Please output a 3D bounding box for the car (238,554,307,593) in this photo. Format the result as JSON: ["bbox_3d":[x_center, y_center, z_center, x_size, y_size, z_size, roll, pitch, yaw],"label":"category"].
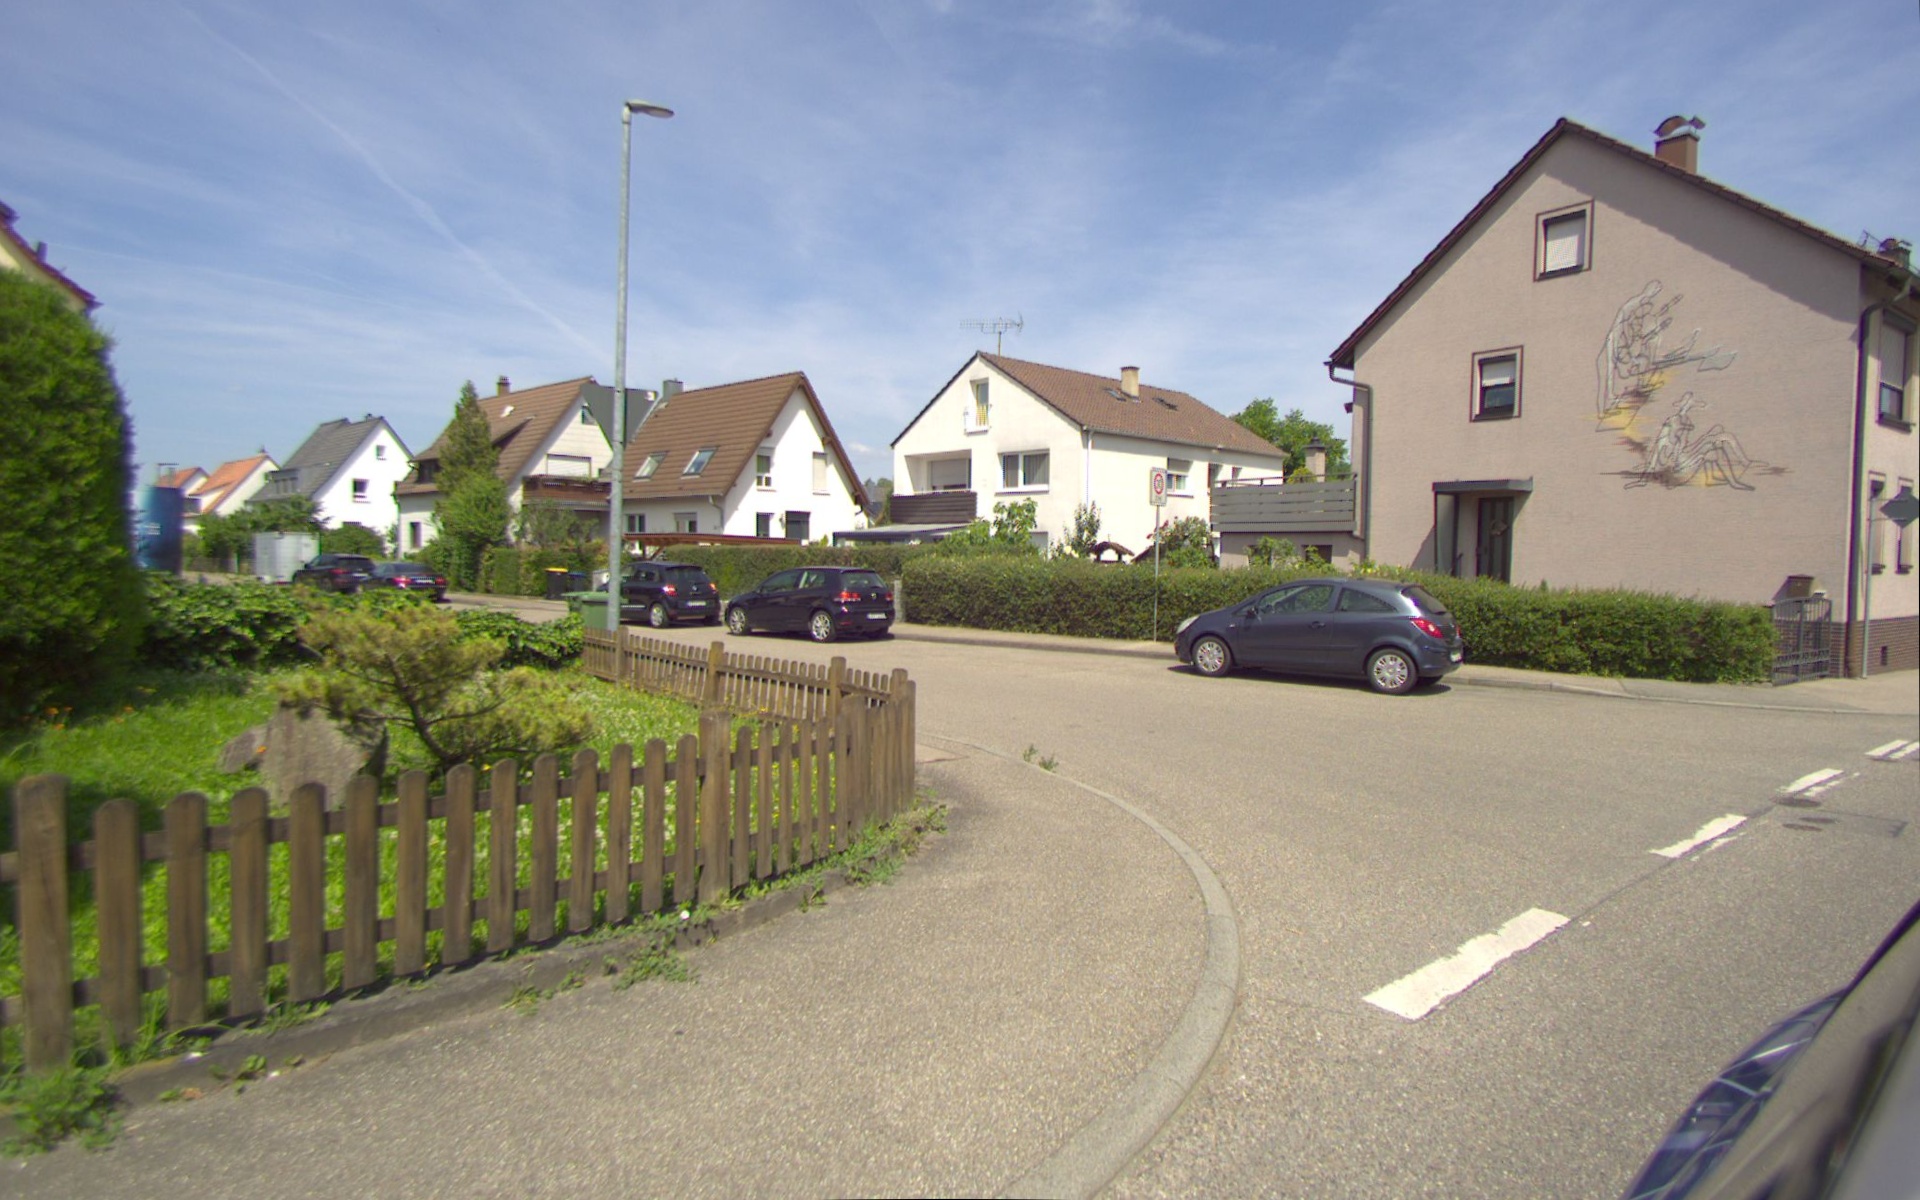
[{"bbox_3d":[-30.312,-1.183,44.606,3.430,1.622,1.625,2,2,40],"label":"car"}]

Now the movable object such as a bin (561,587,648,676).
[{"bbox_3d":[-4.711,0.395,13.455,0.495,1.109,1.000,2,2,34],"label":"movable object such as a bin"}]

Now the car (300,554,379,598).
[{"bbox_3d":[-24.058,-0.946,39.193,3.430,1.622,1.625,2,2,40],"label":"car"}]

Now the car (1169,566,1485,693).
[{"bbox_3d":[5.103,0.291,14.292,3.799,1.506,1.863,2,3,40],"label":"car"}]

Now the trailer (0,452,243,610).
[{"bbox_3d":[-17.252,-1.309,19.971,1.989,2.848,4.703,2,2,37],"label":"trailer"}]

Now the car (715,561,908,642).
[{"bbox_3d":[-3.122,-0.030,20.903,3.890,1.506,1.828,2,2,40],"label":"car"}]

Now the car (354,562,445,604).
[{"bbox_3d":[-19.199,-0.615,34.623,3.430,1.342,1.625,2,2,40],"label":"car"}]

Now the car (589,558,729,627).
[{"bbox_3d":[-7.313,-0.230,24.442,3.430,1.553,1.625,2,2,40],"label":"car"}]
